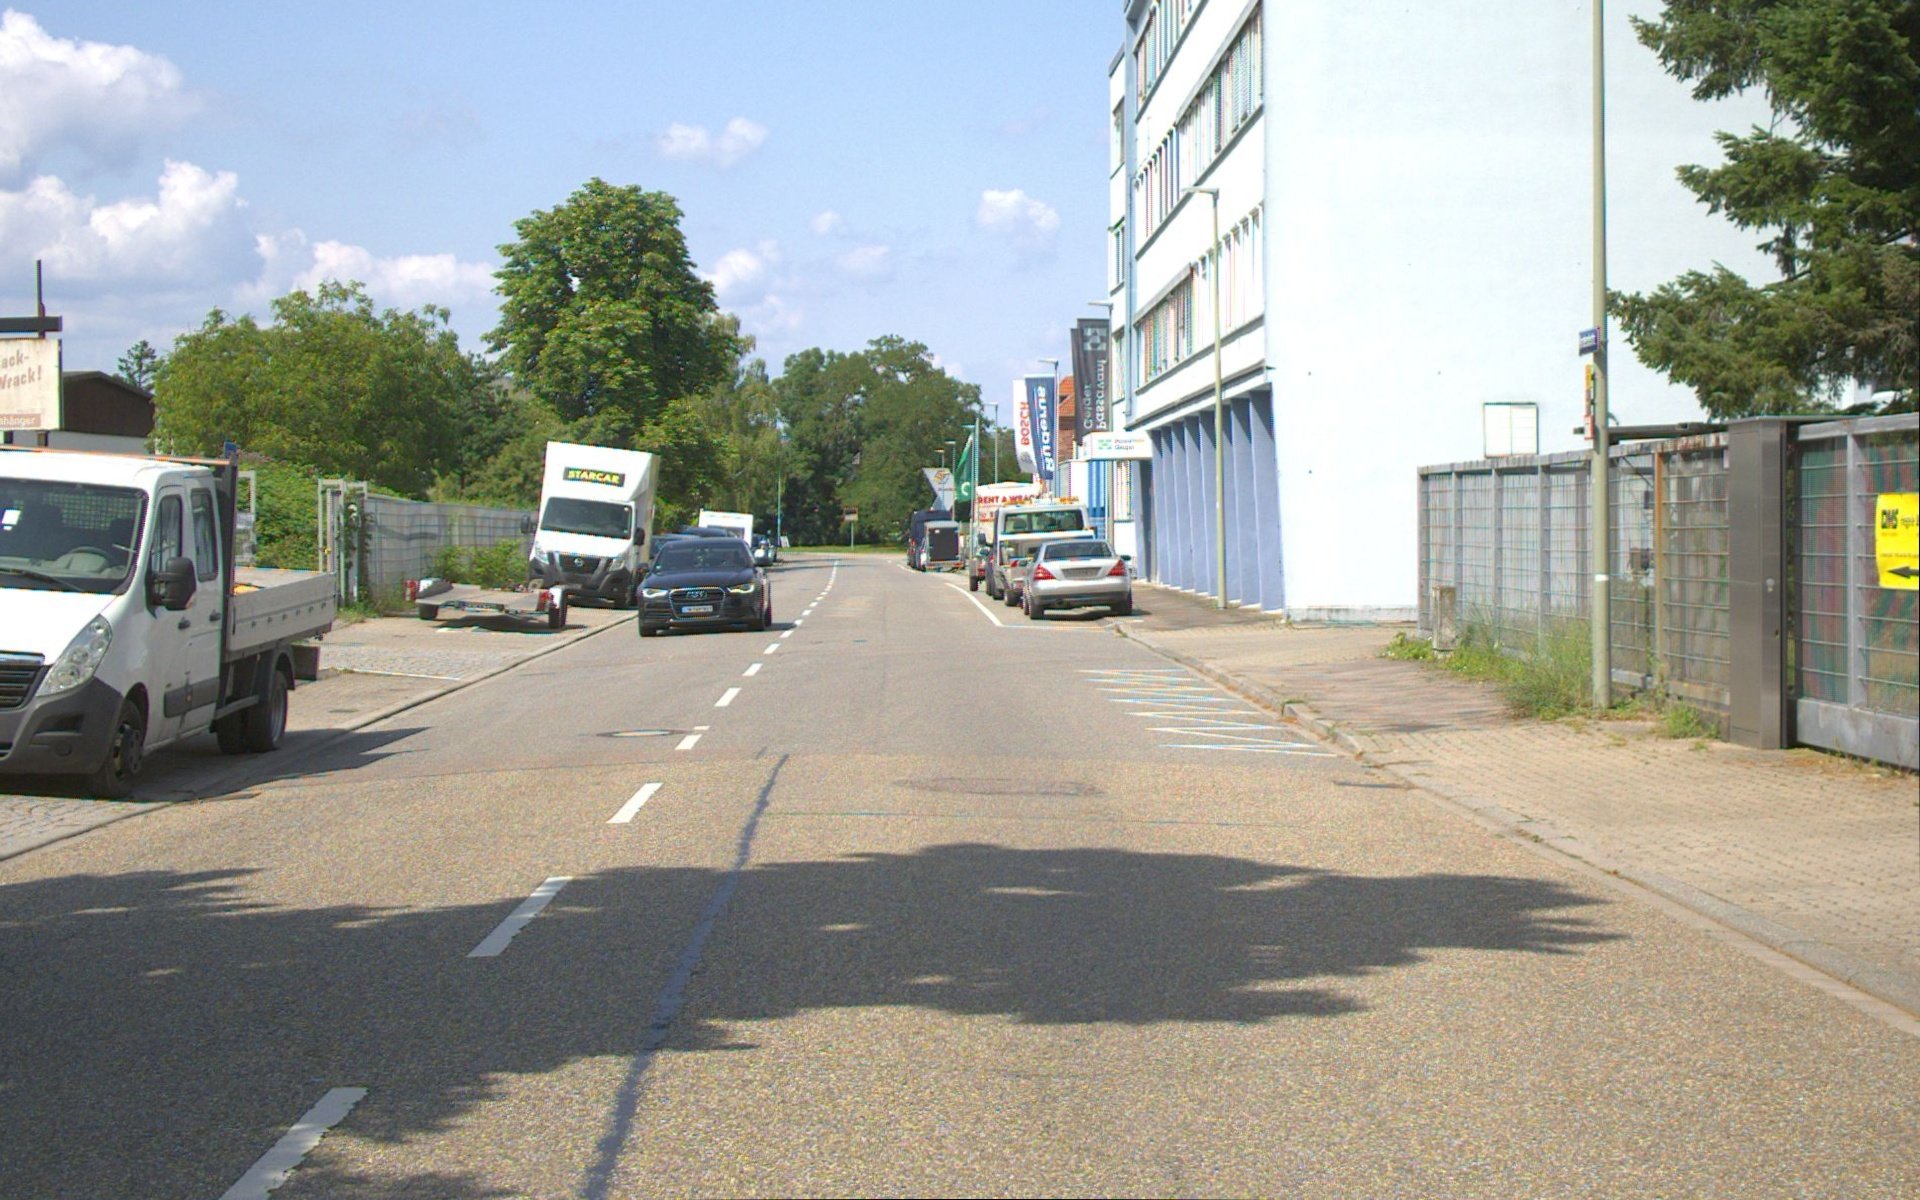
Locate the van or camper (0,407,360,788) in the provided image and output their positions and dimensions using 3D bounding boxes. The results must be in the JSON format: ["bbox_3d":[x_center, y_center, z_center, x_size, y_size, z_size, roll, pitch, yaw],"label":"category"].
[{"bbox_3d":[-6.346,-0.099,25.545,2.174,2.405,7.697,0,1,2],"label":"van or camper"}]

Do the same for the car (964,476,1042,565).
[{"bbox_3d":[1.010,-1.899,82.241,1.707,2.082,4.001,0,1,-2],"label":"car"}]

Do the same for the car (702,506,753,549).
[{"bbox_3d":[-10.014,-3.130,148.150,1.993,1.809,4.000,0,1,-1],"label":"car"}]

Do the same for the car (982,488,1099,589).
[{"bbox_3d":[1.632,-1.294,71.673,2.216,2.007,5.485,0,1,-1],"label":"car"}]

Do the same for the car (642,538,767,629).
[{"bbox_3d":[-3.880,-0.281,52.691,1.654,1.320,4.417,0,1,-1],"label":"car"}]

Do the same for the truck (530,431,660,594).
[{"bbox_3d":[-7.316,-1.754,69.557,2.029,3.143,6.500,0,1,-1],"label":"truck"}]

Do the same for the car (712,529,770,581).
[{"bbox_3d":[-7.069,-1.470,111.327,1.713,1.645,4.000,0,1,-1],"label":"car"}]

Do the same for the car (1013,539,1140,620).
[{"bbox_3d":[1.922,-0.368,57.859,1.928,1.306,4.000,0,1,-1],"label":"car"}]

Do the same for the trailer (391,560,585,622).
[{"bbox_3d":[-7.548,-0.165,55.542,2.417,0.811,5.537,2,1,-1],"label":"trailer"}]

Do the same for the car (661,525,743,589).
[{"bbox_3d":[-6.929,-1.178,92.671,1.993,1.678,4.000,0,1,-1],"label":"car"}]
